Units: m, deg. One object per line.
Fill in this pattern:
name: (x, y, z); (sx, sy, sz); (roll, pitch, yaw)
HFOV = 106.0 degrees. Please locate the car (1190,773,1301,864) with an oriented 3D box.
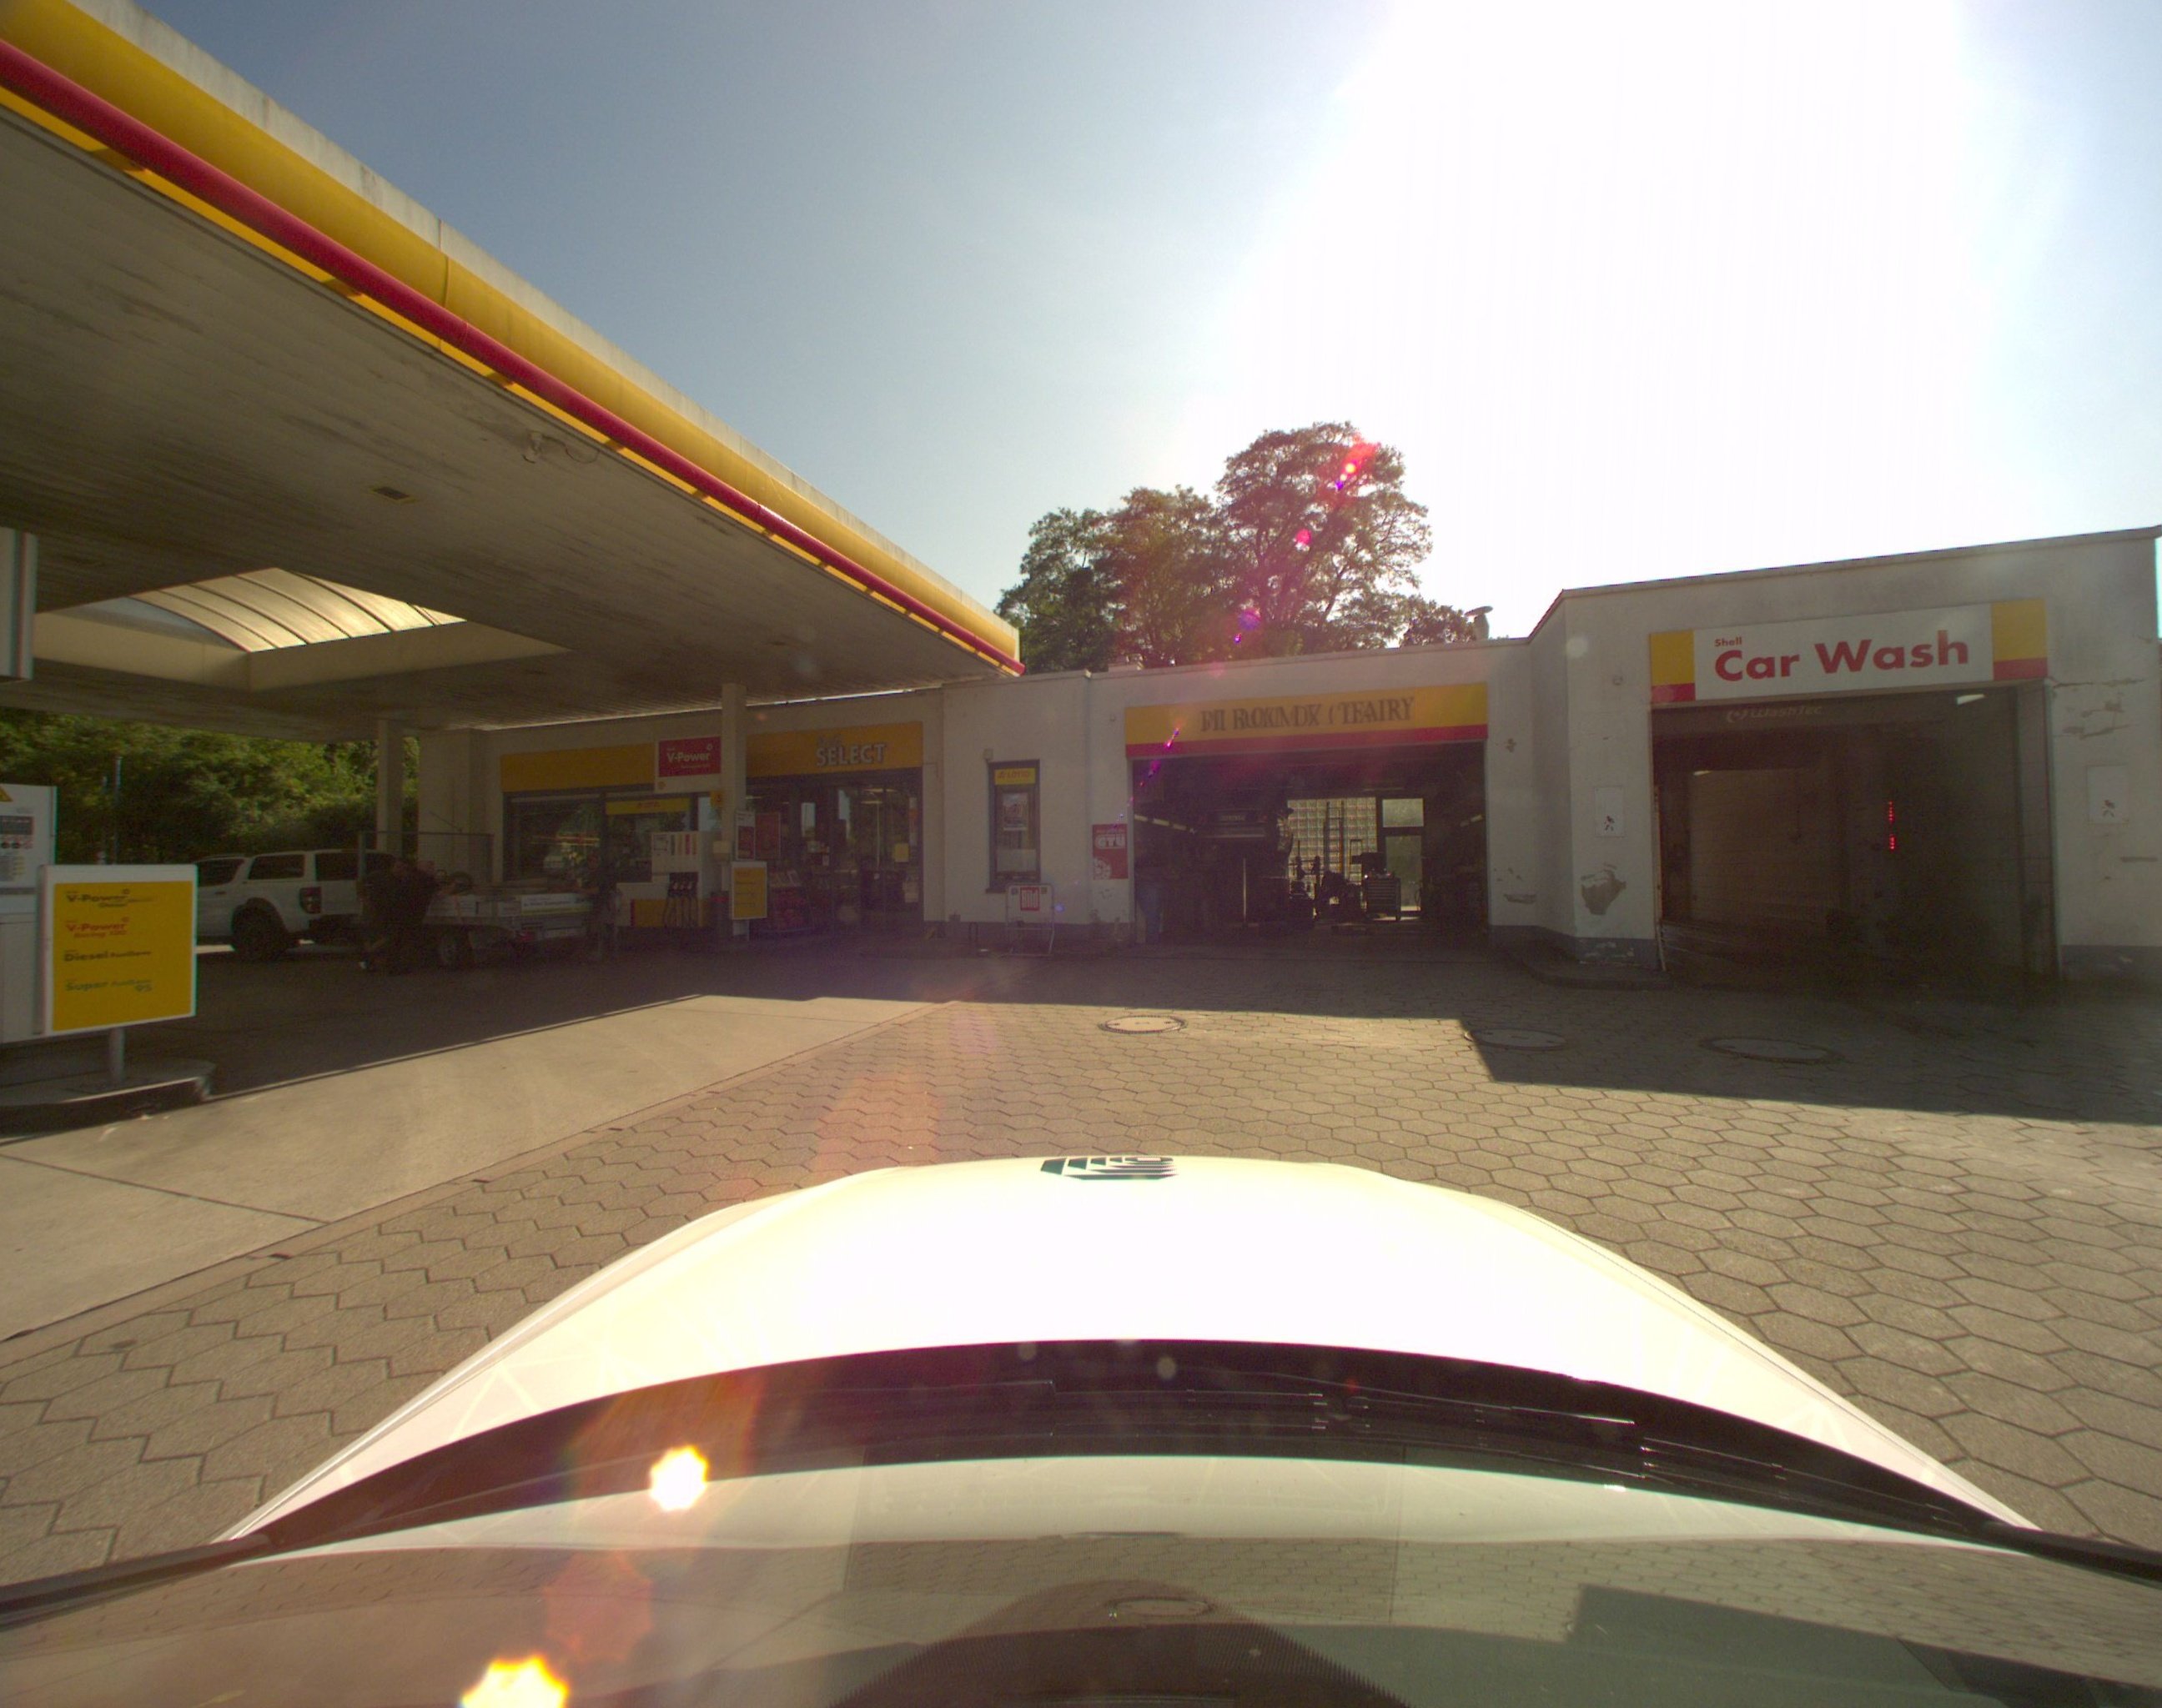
car: (3.549, -0.620, 17.069); (1.632, 1.486, 4.019); (-2, -3, 20)

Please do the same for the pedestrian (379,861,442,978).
pedestrian: (-9.382, 0.896, 11.410); (0.470, 1.593, 0.503); (-1, -2, 22)

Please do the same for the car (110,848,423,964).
car: (-14.427, 0.892, 14.481); (4.728, 1.838, 1.865); (-1, -1, 16)

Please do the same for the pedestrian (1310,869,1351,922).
pedestrian: (5.793, 0.964, 18.897); (0.856, 1.198, 0.746); (-2, -3, 17)

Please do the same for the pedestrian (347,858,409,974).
pedestrian: (-10.172, 0.881, 11.785); (0.470, 1.632, 0.503); (-1, -2, 22)

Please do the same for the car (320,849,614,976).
car: (-9.522, 0.871, 12.658); (3.952, 1.728, 1.843); (-2, -2, 22)

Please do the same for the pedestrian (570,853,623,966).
pedestrian: (-7.348, 0.835, 12.356); (0.495, 1.668, 0.478); (-1, -2, 19)

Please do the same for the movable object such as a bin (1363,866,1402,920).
movable object such as a bin: (6.989, 0.908, 18.883); (0.790, 1.236, 0.547); (-2, -4, 20)

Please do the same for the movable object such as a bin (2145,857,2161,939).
movable object such as a bin: (17.948, 0.692, 12.876); (0.852, 1.325, 1.223); (0, -2, -29)
